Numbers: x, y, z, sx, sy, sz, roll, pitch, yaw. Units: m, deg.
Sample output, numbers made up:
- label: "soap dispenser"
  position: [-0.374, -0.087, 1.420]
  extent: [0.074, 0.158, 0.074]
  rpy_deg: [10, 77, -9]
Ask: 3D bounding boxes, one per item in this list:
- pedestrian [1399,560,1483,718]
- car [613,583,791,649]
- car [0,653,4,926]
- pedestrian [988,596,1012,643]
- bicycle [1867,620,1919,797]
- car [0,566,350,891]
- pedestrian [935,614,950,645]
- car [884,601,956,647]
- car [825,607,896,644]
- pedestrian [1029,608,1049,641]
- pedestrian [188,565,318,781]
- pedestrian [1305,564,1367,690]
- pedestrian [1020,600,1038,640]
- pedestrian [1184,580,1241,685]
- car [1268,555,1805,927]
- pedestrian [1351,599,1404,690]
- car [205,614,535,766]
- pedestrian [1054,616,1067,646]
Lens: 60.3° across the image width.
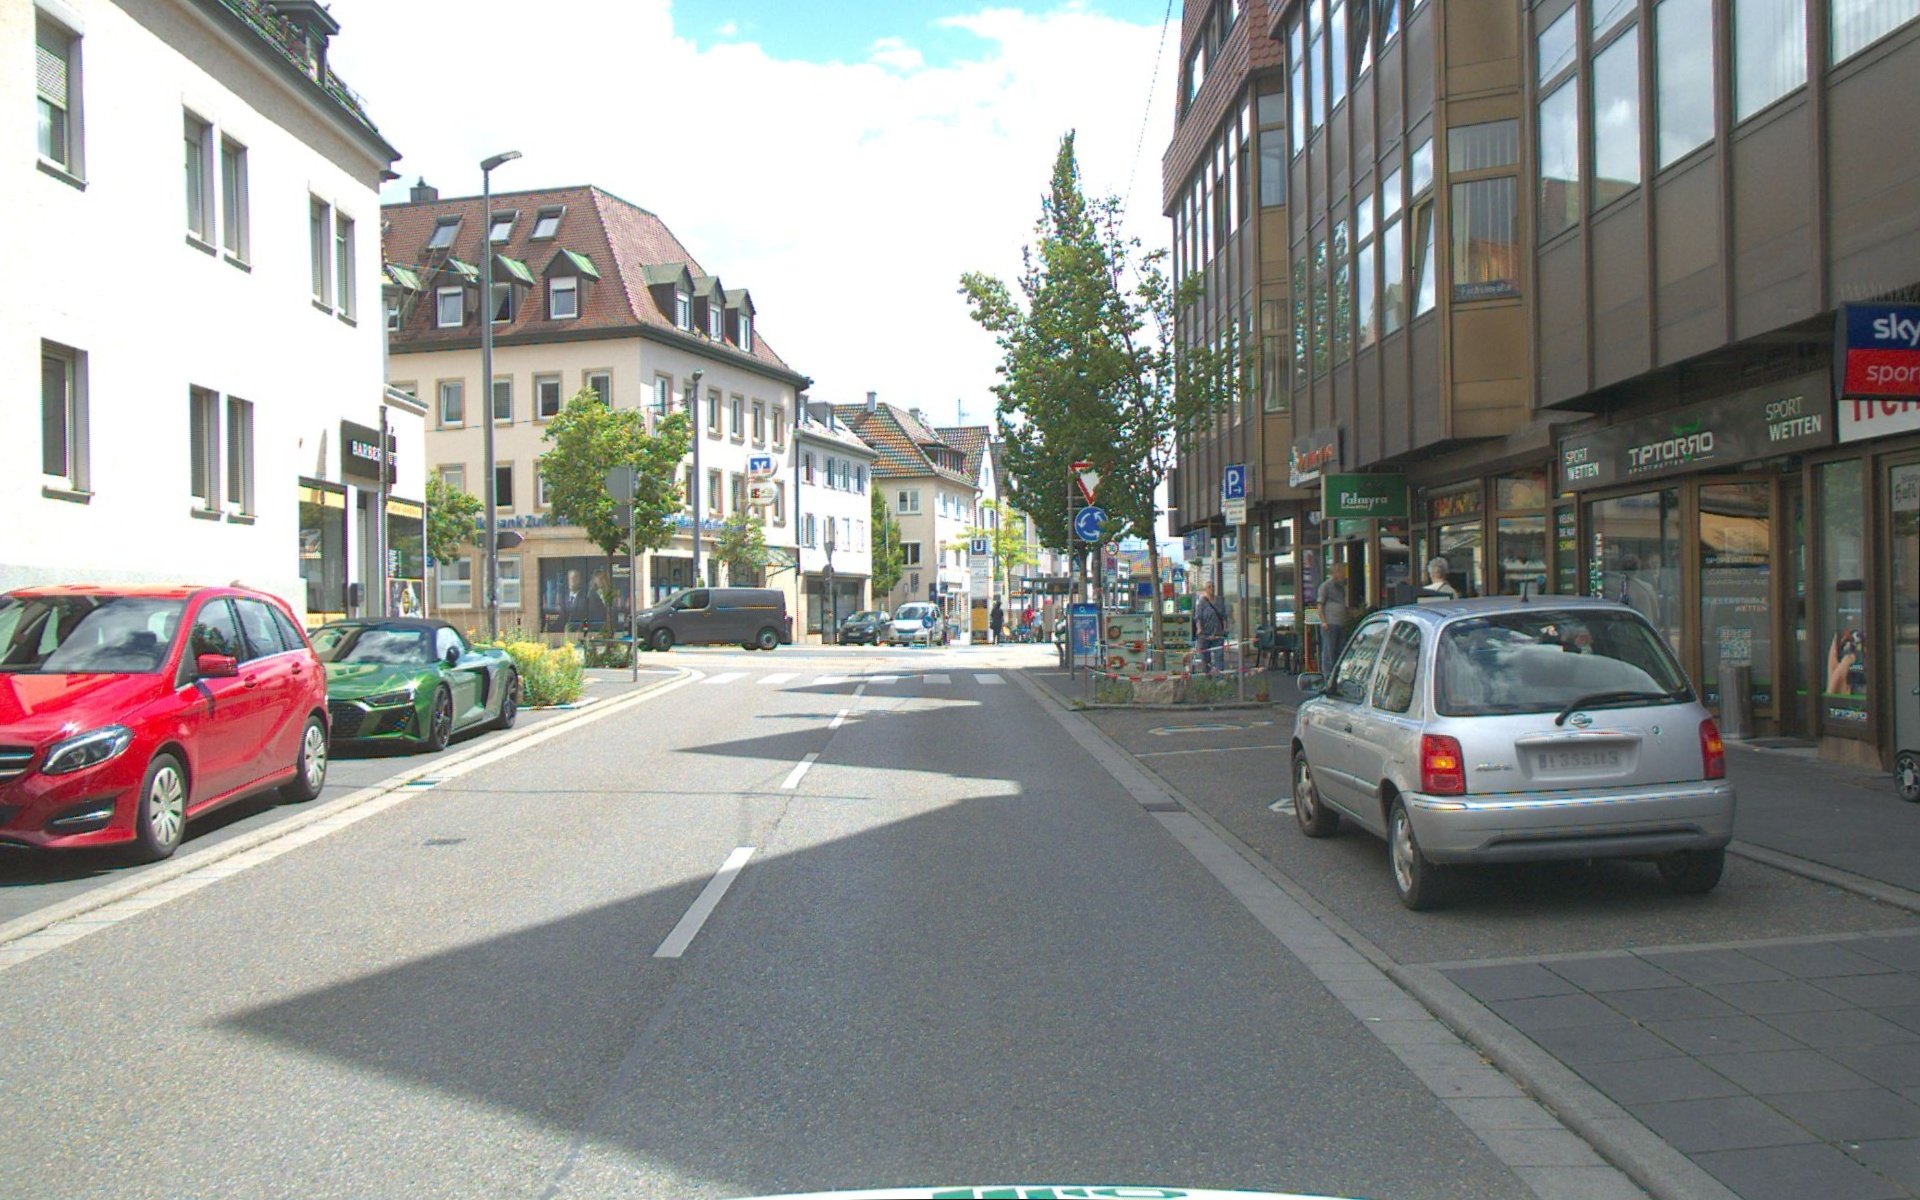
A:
- label: "pedestrian"
  position: [5.377, 0.432, 18.507]
  extent: [0.647, 1.736, 0.642]
  rpy_deg: [1, -1, -23]
- label: "car"
  position: [-7.700, 0.495, 49.376]
  extent: [4.916, 1.881, 2.033]
  rpy_deg: [1, -1, -24]
- label: "car"
  position: [-5.179, 0.704, 5.401]
  extent: [1.763, 1.632, 4.348]
  rpy_deg: [-1, 0, -3]
- label: "pedestrian"
  position: [1.478, 0.724, 61.130]
  extent: [0.851, 1.738, 0.531]
  rpy_deg: [1, -1, 2]
- label: "bicycle"
  position: [6.169, 0.660, 9.851]
  extent: [0.705, 1.066, 1.476]
  rpy_deg: [1, -1, -1]
- label: "car"
  position: [-5.396, 0.653, 10.439]
  extent: [1.764, 1.632, 4.215]
  rpy_deg: [-1, 0, -4]
- label: "pedestrian"
  position: [-0.967, 1.603, 90.053]
  extent: [0.681, 1.638, 0.641]
  rpy_deg: [1, -1, -17]
- label: "car"
  position: [-1.513, 0.925, 64.567]
  extent: [1.951, 1.719, 4.003]
  rpy_deg: [1, -1, 11]
- label: "car"
  position: [-4.072, 1.049, 68.284]
  extent: [1.951, 1.478, 4.003]
  rpy_deg: [1, -1, 12]
- label: "pedestrian"
  position: [3.867, 1.197, 80.820]
  extent: [0.716, 1.607, 0.744]
  rpy_deg: [0, 0, 40]
- label: "pedestrian"
  position: [-5.682, 0.574, 13.329]
  extent: [0.672, 1.677, 0.779]
  rpy_deg: [1, -1, 1]
- label: "pedestrian"
  position: [5.570, 0.396, 24.533]
  extent: [0.722, 1.846, 0.711]
  rpy_deg: [-1, -1, -1]
- label: "pedestrian"
  position: [3.094, 0.883, 74.357]
  extent: [0.712, 1.794, 0.749]
  rpy_deg: [0, 0, 9]
- label: "pedestrian"
  position: [4.013, 0.510, 26.324]
  extent: [0.768, 1.644, 0.800]
  rpy_deg: [1, -1, -1]
- label: "car"
  position: [2.887, 0.610, 9.164]
  extent: [1.577, 1.520, 3.795]
  rpy_deg: [-4, 0, 0]
- label: "pedestrian"
  position: [5.942, 0.628, 23.562]
  extent: [0.608, 1.275, 0.613]
  rpy_deg: [1, -1, 2]
- label: "car"
  position: [-5.761, 0.810, 16.793]
  extent: [1.782, 1.245, 4.522]
  rpy_deg: [1, 0, -1]
- label: "pedestrian"
  position: [4.563, 1.411, 74.895]
  extent: [0.579, 1.340, 0.591]
  rpy_deg: [1, -1, 5]
